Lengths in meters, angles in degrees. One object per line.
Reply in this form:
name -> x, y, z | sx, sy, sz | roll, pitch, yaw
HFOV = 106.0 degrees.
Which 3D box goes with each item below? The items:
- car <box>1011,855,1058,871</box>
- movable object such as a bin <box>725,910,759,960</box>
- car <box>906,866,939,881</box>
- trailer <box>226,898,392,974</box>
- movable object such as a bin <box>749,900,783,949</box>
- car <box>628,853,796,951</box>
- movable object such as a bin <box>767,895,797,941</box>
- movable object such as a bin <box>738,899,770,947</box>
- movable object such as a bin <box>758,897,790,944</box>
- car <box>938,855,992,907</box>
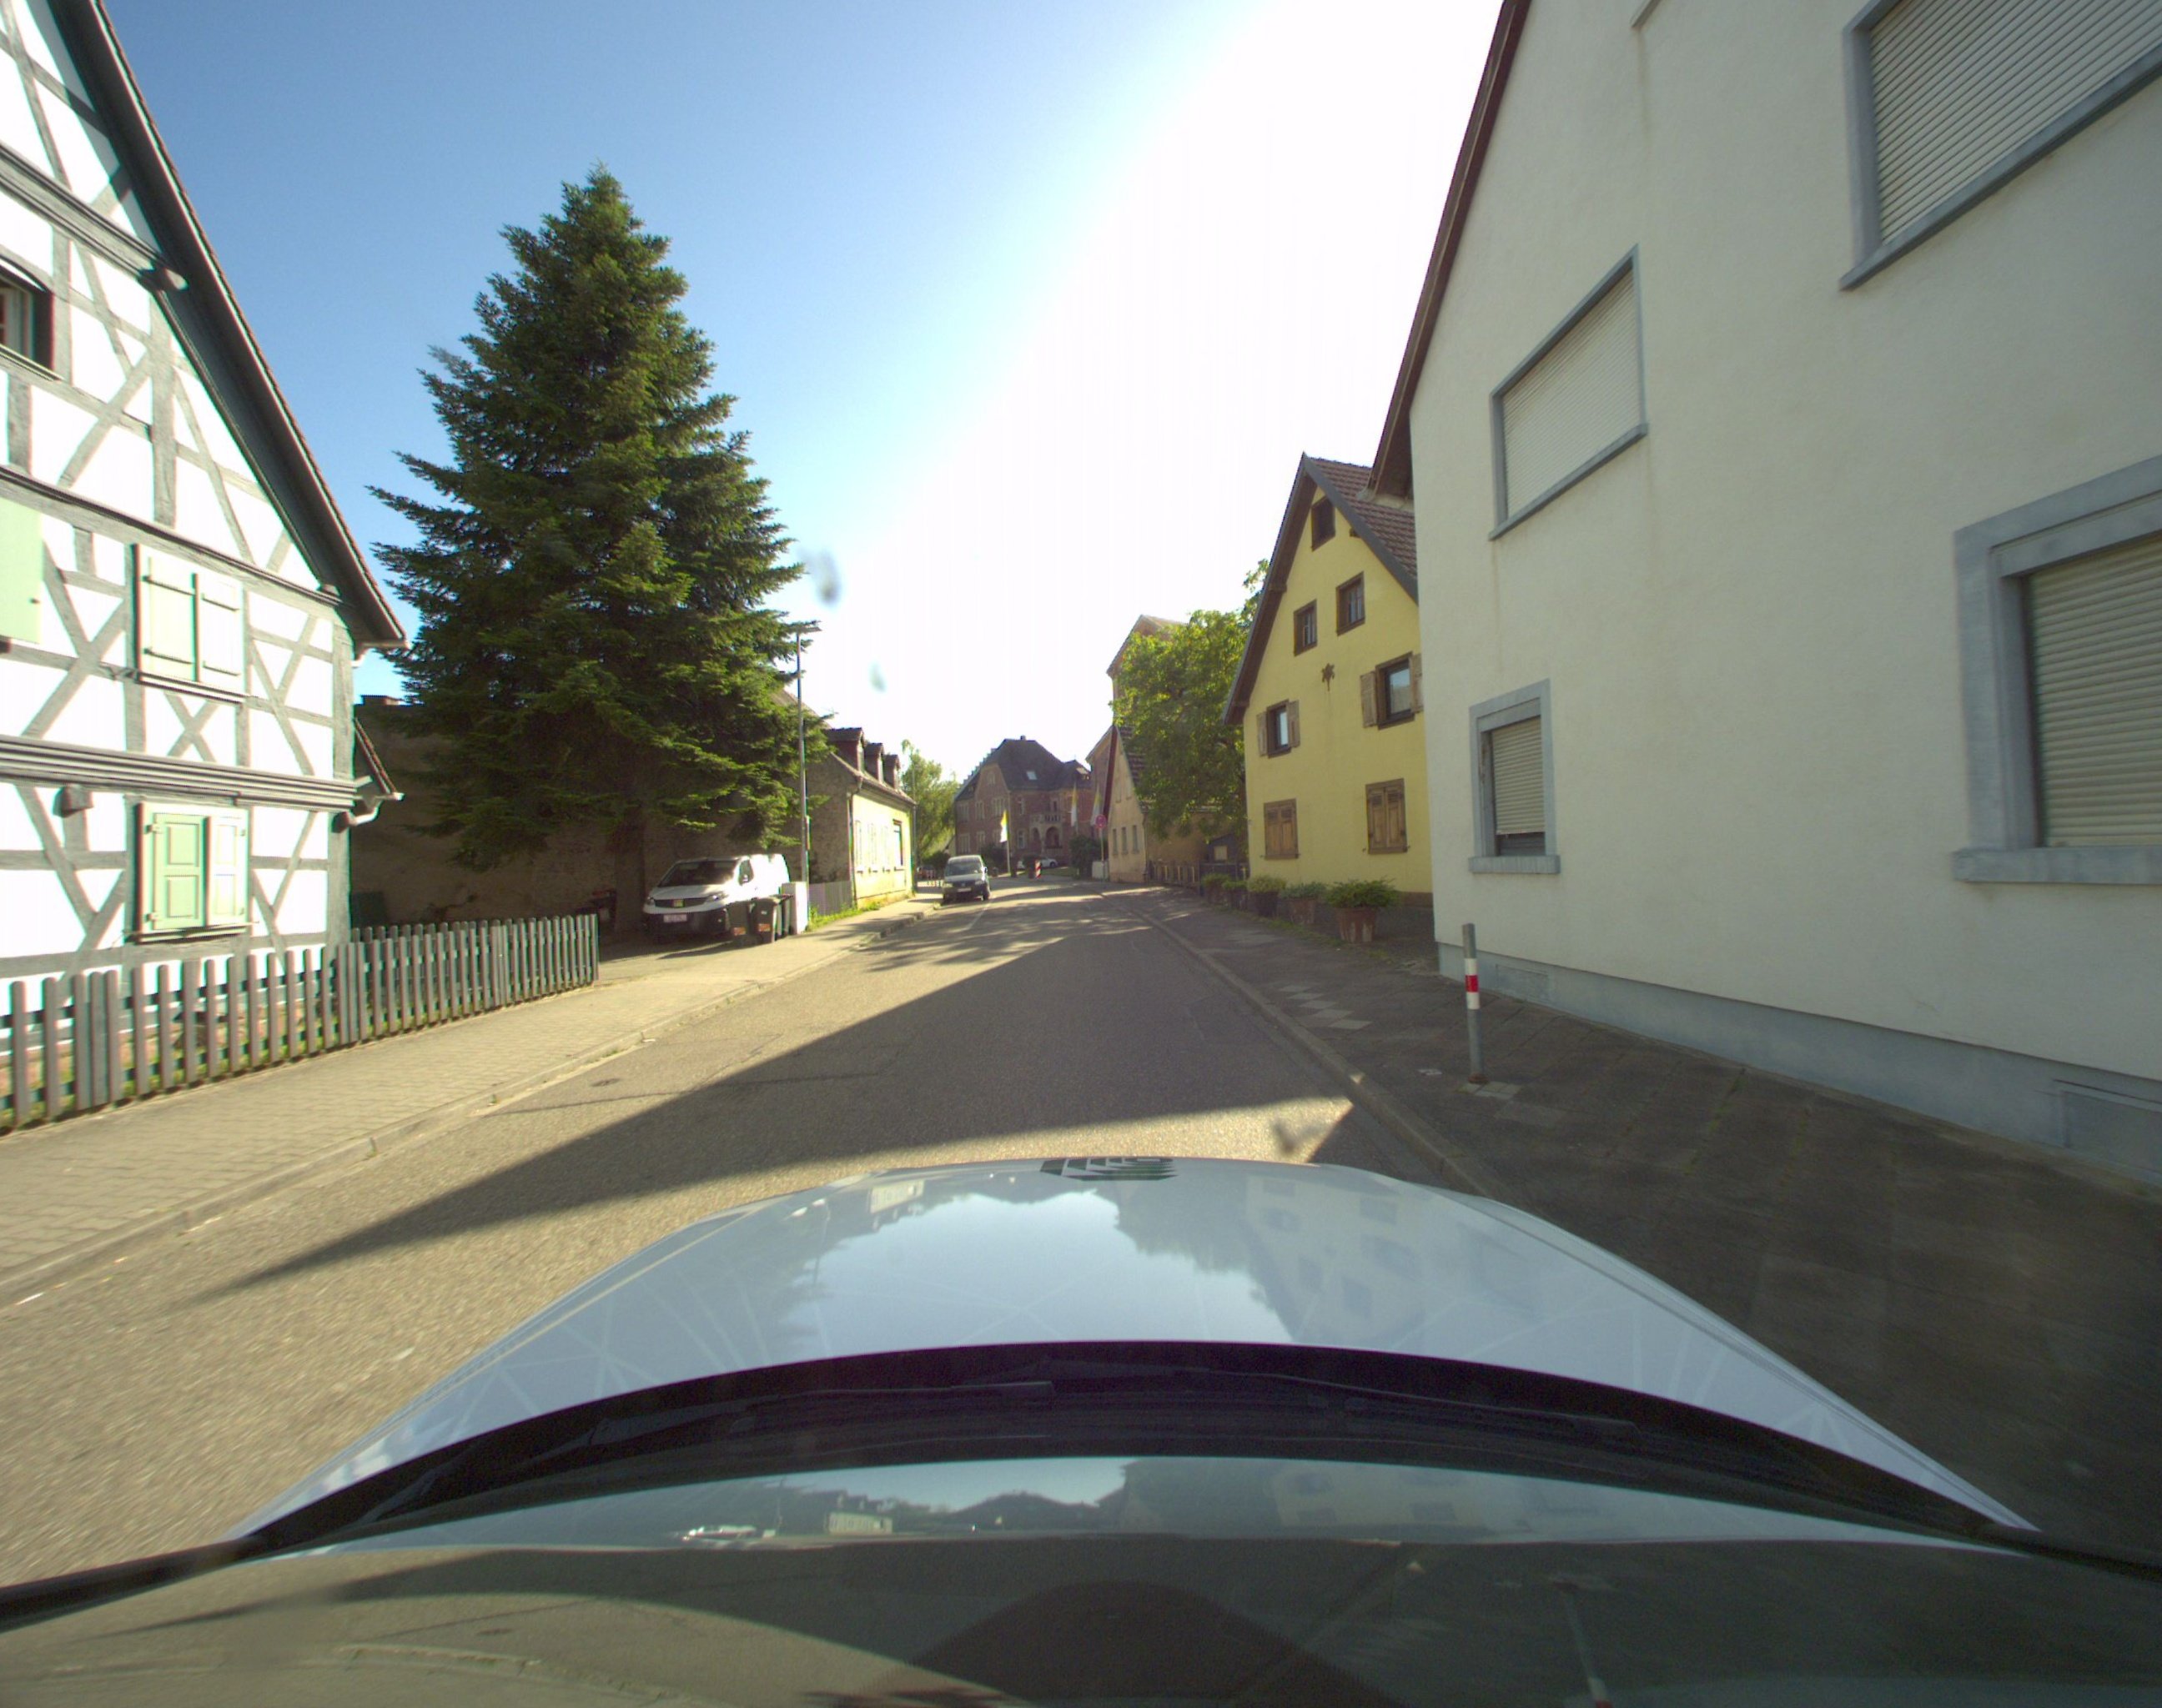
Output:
car -> -4.591, 0.890, 80.545 | 4.266, 1.401, 1.699 | -3, -1, -35
movable object such as a bin -> -6.881, 1.638, 16.545 | 0.419, 0.924, 0.490 | -3, 2, -3
car -> -16.198, 1.960, 83.060 | 1.725, 1.400, 4.203 | -3, 0, -33
trailer -> -18.798, 1.955, 19.940 | 2.436, 1.572, 1.538 | -3, 0, -14
movable object such as a bin -> -6.439, 1.433, 16.652 | 0.439, 0.924, 0.490 | -3, 2, -3
car -> -8.706, 1.018, 19.839 | 1.936, 1.955, 5.135 | -3, 0, -4
movable object such as a bin -> -6.476, 1.385, 17.653 | 0.419, 0.924, 0.490 | -3, 2, -3
movable object such as a bin -> -6.888, 1.452, 17.158 | 0.419, 0.924, 0.490 | -3, 2, -3
movable object such as a bin -> -6.458, 1.394, 17.154 | 0.427, 0.924, 0.490 | -3, 2, -3
car -> -4.640, 1.036, 33.169 | 1.823, 1.814, 4.194 | -5, 0, -5
